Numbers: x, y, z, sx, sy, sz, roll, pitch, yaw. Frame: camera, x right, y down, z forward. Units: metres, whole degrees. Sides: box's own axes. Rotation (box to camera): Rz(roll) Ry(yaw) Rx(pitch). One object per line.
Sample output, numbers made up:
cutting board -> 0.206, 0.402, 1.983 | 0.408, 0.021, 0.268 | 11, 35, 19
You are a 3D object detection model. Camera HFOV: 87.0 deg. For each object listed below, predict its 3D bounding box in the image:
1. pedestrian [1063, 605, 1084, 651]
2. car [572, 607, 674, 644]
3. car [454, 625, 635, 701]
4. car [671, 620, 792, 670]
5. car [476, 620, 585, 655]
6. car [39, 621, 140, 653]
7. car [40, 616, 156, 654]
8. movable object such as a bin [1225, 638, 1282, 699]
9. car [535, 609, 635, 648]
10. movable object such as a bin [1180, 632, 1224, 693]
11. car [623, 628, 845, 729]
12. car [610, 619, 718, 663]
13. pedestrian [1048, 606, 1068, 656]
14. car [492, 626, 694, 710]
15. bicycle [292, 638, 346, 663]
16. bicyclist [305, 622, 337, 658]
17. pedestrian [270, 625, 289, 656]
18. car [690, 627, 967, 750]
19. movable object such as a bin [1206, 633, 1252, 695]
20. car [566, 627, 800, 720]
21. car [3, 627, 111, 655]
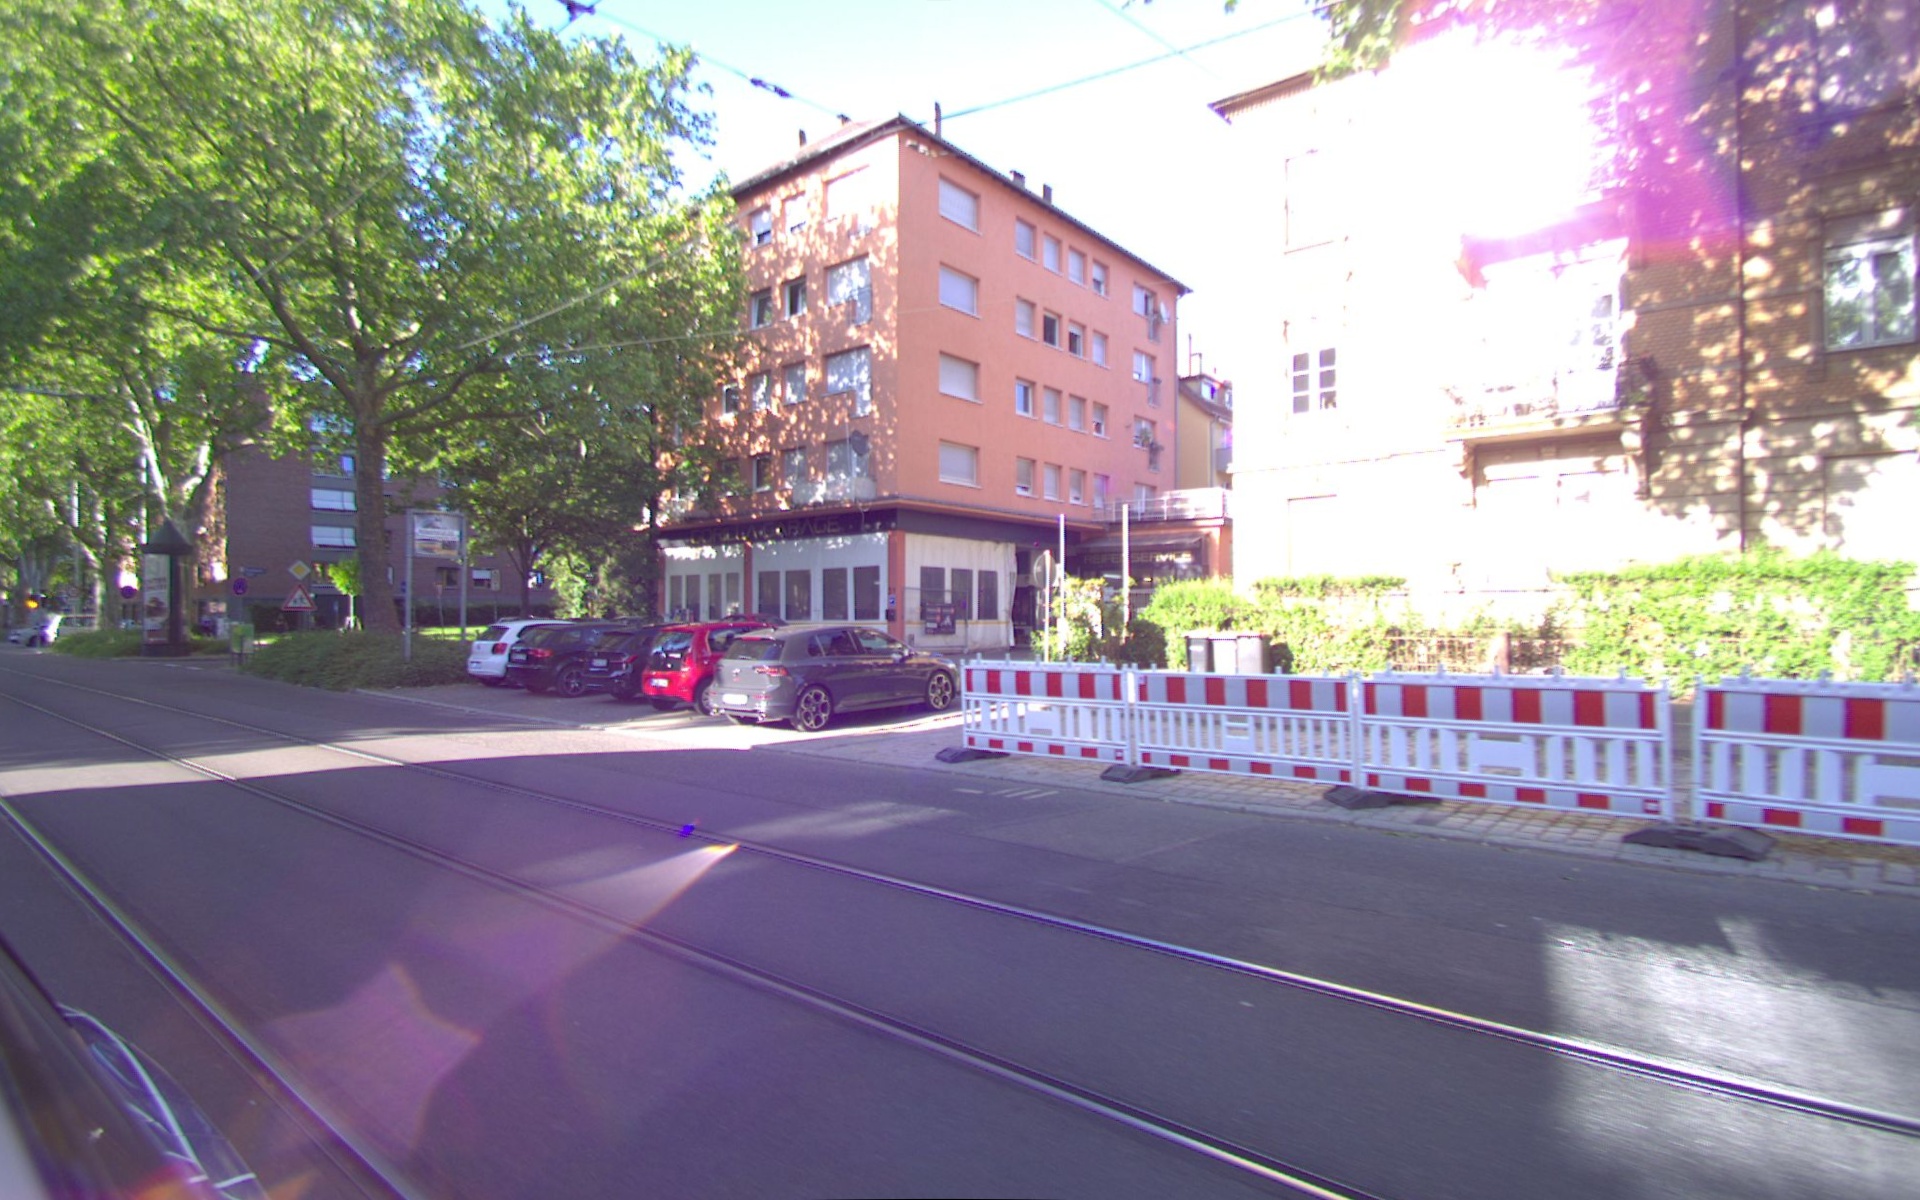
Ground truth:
pedestrian -> 4.211, 1.038, 37.558 | 0.549, 1.673, 0.498 | -1, 0, 40
car -> -14.613, 1.088, 43.841 | 3.980, 1.537, 1.982 | -1, 0, 27
car -> -9.307, 1.353, 22.822 | 1.697, 1.476, 3.382 | -1, 0, 43
car -> -7.591, 1.450, 33.424 | 3.999, 1.498, 1.927 | -1, 0, 42
car -> -20.356, 1.739, 48.135 | 1.856, 1.500, 4.488 | -1, 0, 35
car -> -49.098, 2.061, 57.143 | 1.900, 1.659, 4.098 | -1, 0, 39
car -> -46.825, 1.864, 55.058 | 1.937, 1.848, 4.525 | -1, 0, 39
movable object such as a bin -> 5.339, 1.227, 18.399 | 0.736, 1.030, 0.714 | -1, 0, 42
car -> -15.452, 1.175, 41.637 | 3.986, 1.504, 1.799 | -1, 0, 31
movable object such as a bin -> 4.668, 1.186, 19.503 | 0.543, 1.118, 0.716 | -1, 0, 42
car -> -3.870, 1.275, 17.669 | 1.759, 1.476, 3.382 | -1, 0, 43
car -> -10.609, 1.419, 36.123 | 3.891, 1.418, 1.927 | -1, 0, 42
pedestrian -> 3.602, 1.136, 37.272 | 0.520, 1.791, 0.534 | -1, 0, 40
car -> -7.541, 1.331, 20.986 | 1.687, 1.476, 3.562 | -1, 0, 43
bicycle -> -28.006, 2.183, 44.233 | 2.574, 1.006, 0.961 | -1, 0, 31
bicyclist -> -27.902, 1.745, 44.188 | 1.113, 1.518, 0.794 | -1, 0, 31
pedestrian -> -38.424, 2.280, 57.147 | 0.779, 1.686, 0.702 | -1, 0, 41
car -> -1.866, 1.216, 15.332 | 1.853, 1.476, 3.946 | -1, 0, 40
movable object such as a bin -> 5.083, 1.202, 19.117 | 0.560, 1.118, 0.715 | -1, 0, 42
car -> -5.263, 1.319, 19.594 | 1.821, 1.476, 4.038 | -1, 0, 43
car -> -55.270, 2.475, 61.996 | 1.953, 1.471, 4.717 | -1, 0, 39
